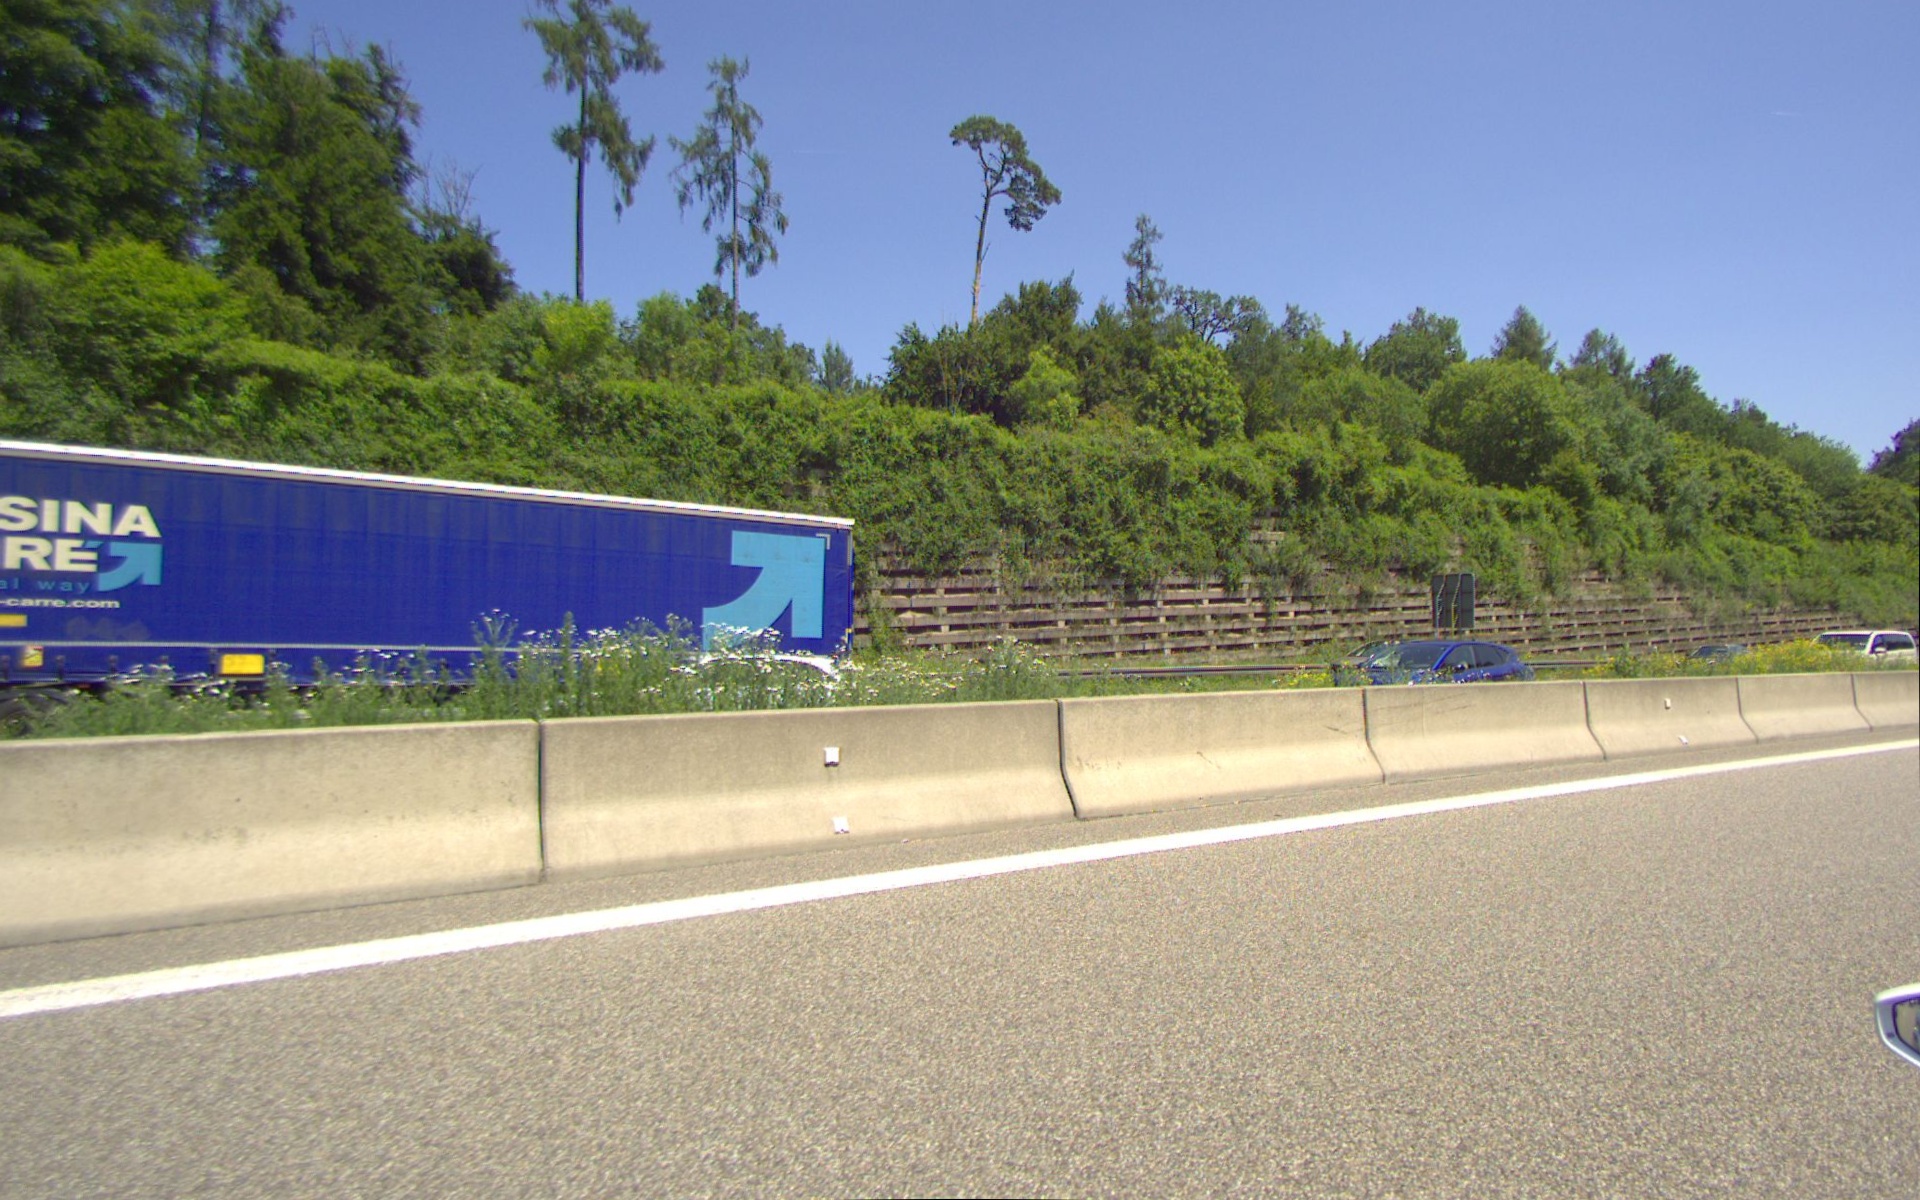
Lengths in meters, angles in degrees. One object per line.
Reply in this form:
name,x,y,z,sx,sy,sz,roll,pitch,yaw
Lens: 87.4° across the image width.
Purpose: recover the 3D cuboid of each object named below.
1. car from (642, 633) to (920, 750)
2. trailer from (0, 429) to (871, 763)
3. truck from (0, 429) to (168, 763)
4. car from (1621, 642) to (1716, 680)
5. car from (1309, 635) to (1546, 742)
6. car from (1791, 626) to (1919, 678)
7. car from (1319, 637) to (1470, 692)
car,-2.585,1.244,14.668,3.667,1.394,1.650,1,1,-30
trailer,-8.291,0.005,15.868,14.024,4.068,2.666,1,-1,-31
truck,-13.842,-0.052,12.522,5.862,4.084,2.667,0,-1,-31
car,31.298,2.664,44.334,4.155,1.542,1.928,1,-2,-31
car,7.824,1.387,16.742,3.838,1.473,1.650,1,1,-30
car,30.472,1.717,34.086,5.016,1.628,1.884,1,-1,-30
car,13.283,1.916,30.615,4.863,1.472,1.650,1,-1,-30
